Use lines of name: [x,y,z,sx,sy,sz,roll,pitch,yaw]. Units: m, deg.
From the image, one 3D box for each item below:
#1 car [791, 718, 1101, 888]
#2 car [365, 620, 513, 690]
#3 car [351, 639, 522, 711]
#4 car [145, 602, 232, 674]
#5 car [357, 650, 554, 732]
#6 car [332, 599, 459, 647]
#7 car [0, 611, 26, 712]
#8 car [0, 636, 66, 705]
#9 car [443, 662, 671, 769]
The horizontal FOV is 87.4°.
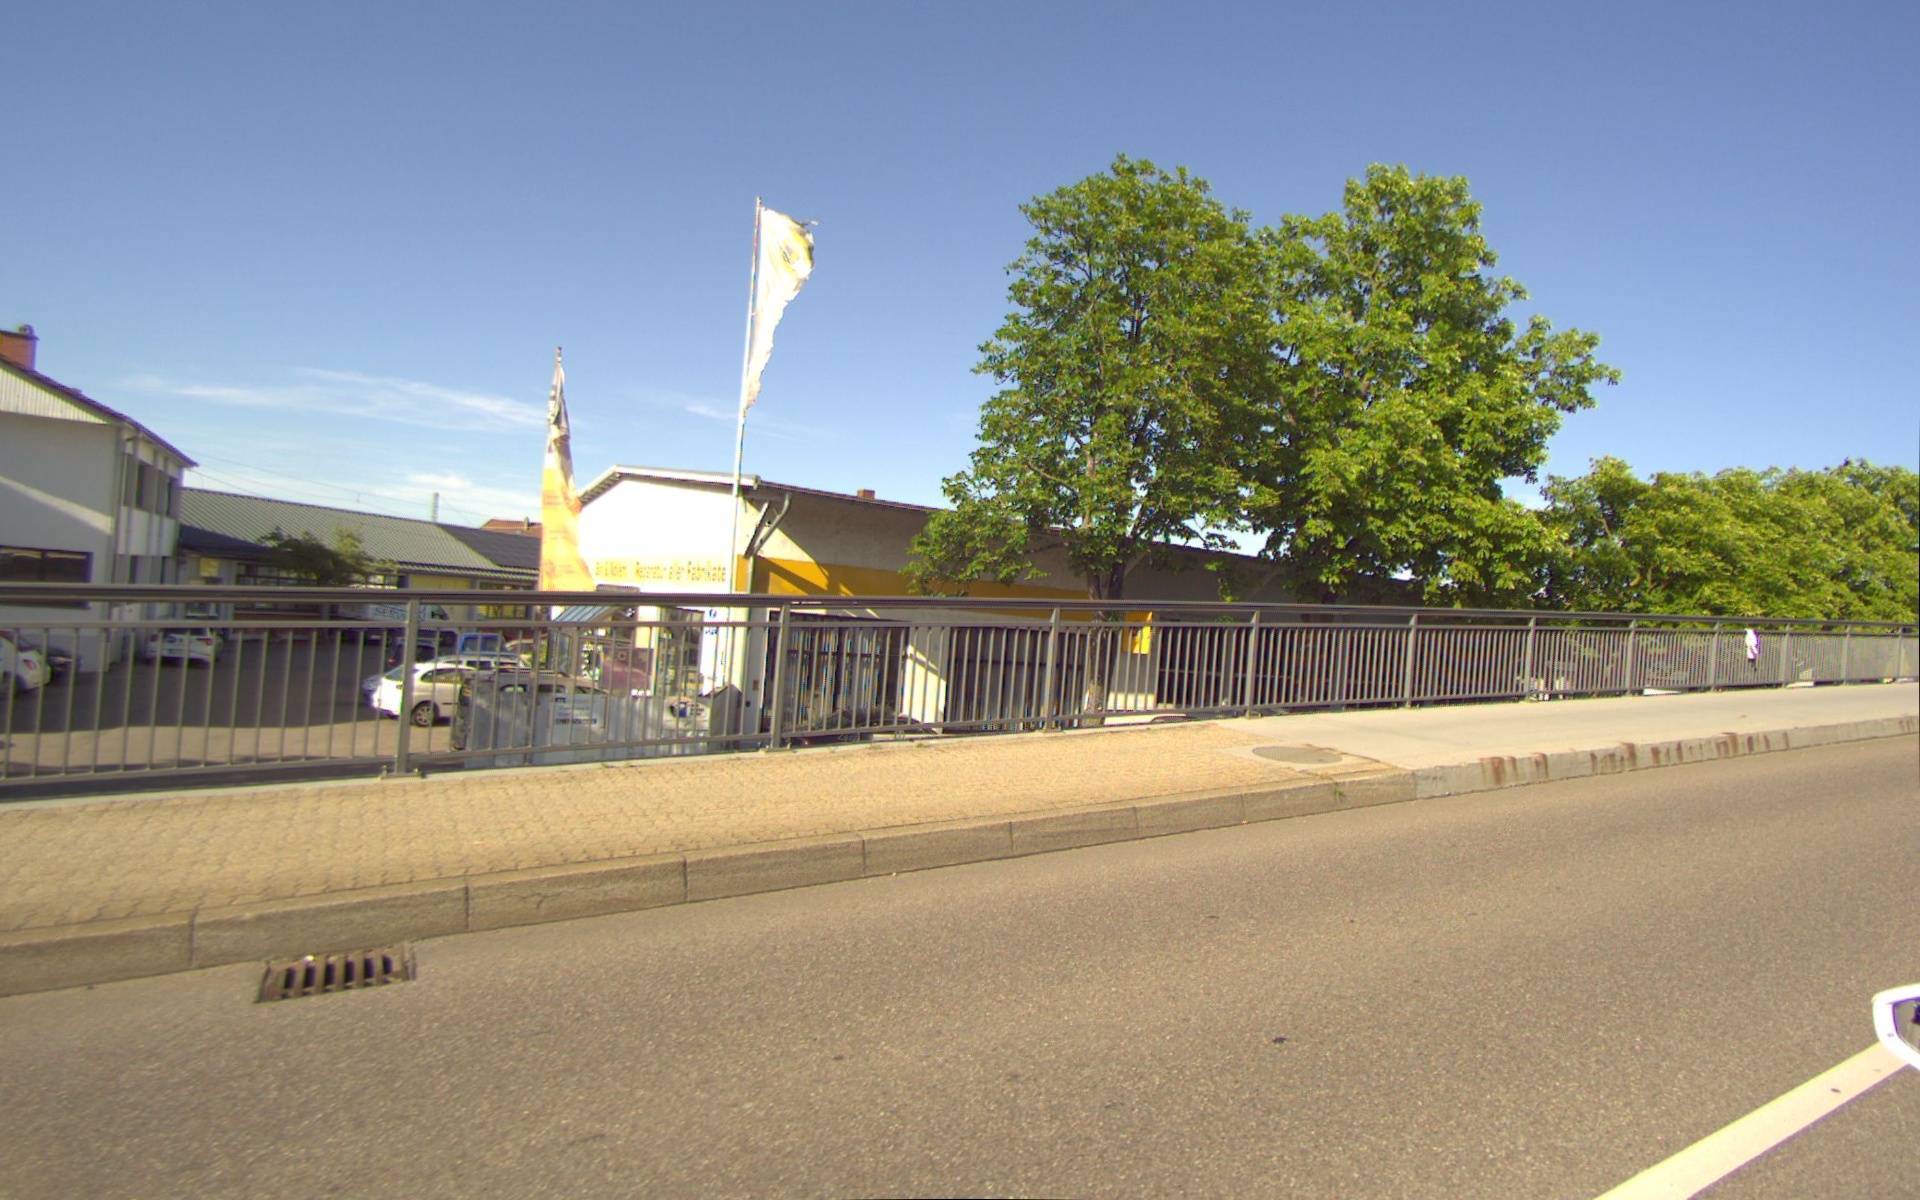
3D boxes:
car: [-0.208,2.954,15.225,4.202,2.017,1.917,4,0,-26]
car: [-17.048,1.826,32.931,3.963,2.040,1.979,4,0,-37]
car: [-14.749,2.114,28.381,3.963,1.768,1.979,4,0,-37]
car: [-25.233,1.199,32.962,1.981,2.040,3.926,4,0,-35]
car: [-12.833,2.253,25.723,1.968,1.749,3.985,4,0,37]
car: [-26.947,1.126,48.190,1.960,2.040,5.294,4,0,19]
car: [-21.871,1.167,20.270,3.956,2.040,1.983,5,-1,-31]
car: [-22.978,1.526,22.704,3.770,1.415,1.680,5,-1,-31]
car: [-8.381,2.353,21.030,3.966,1.876,1.978,4,-1,-38]
